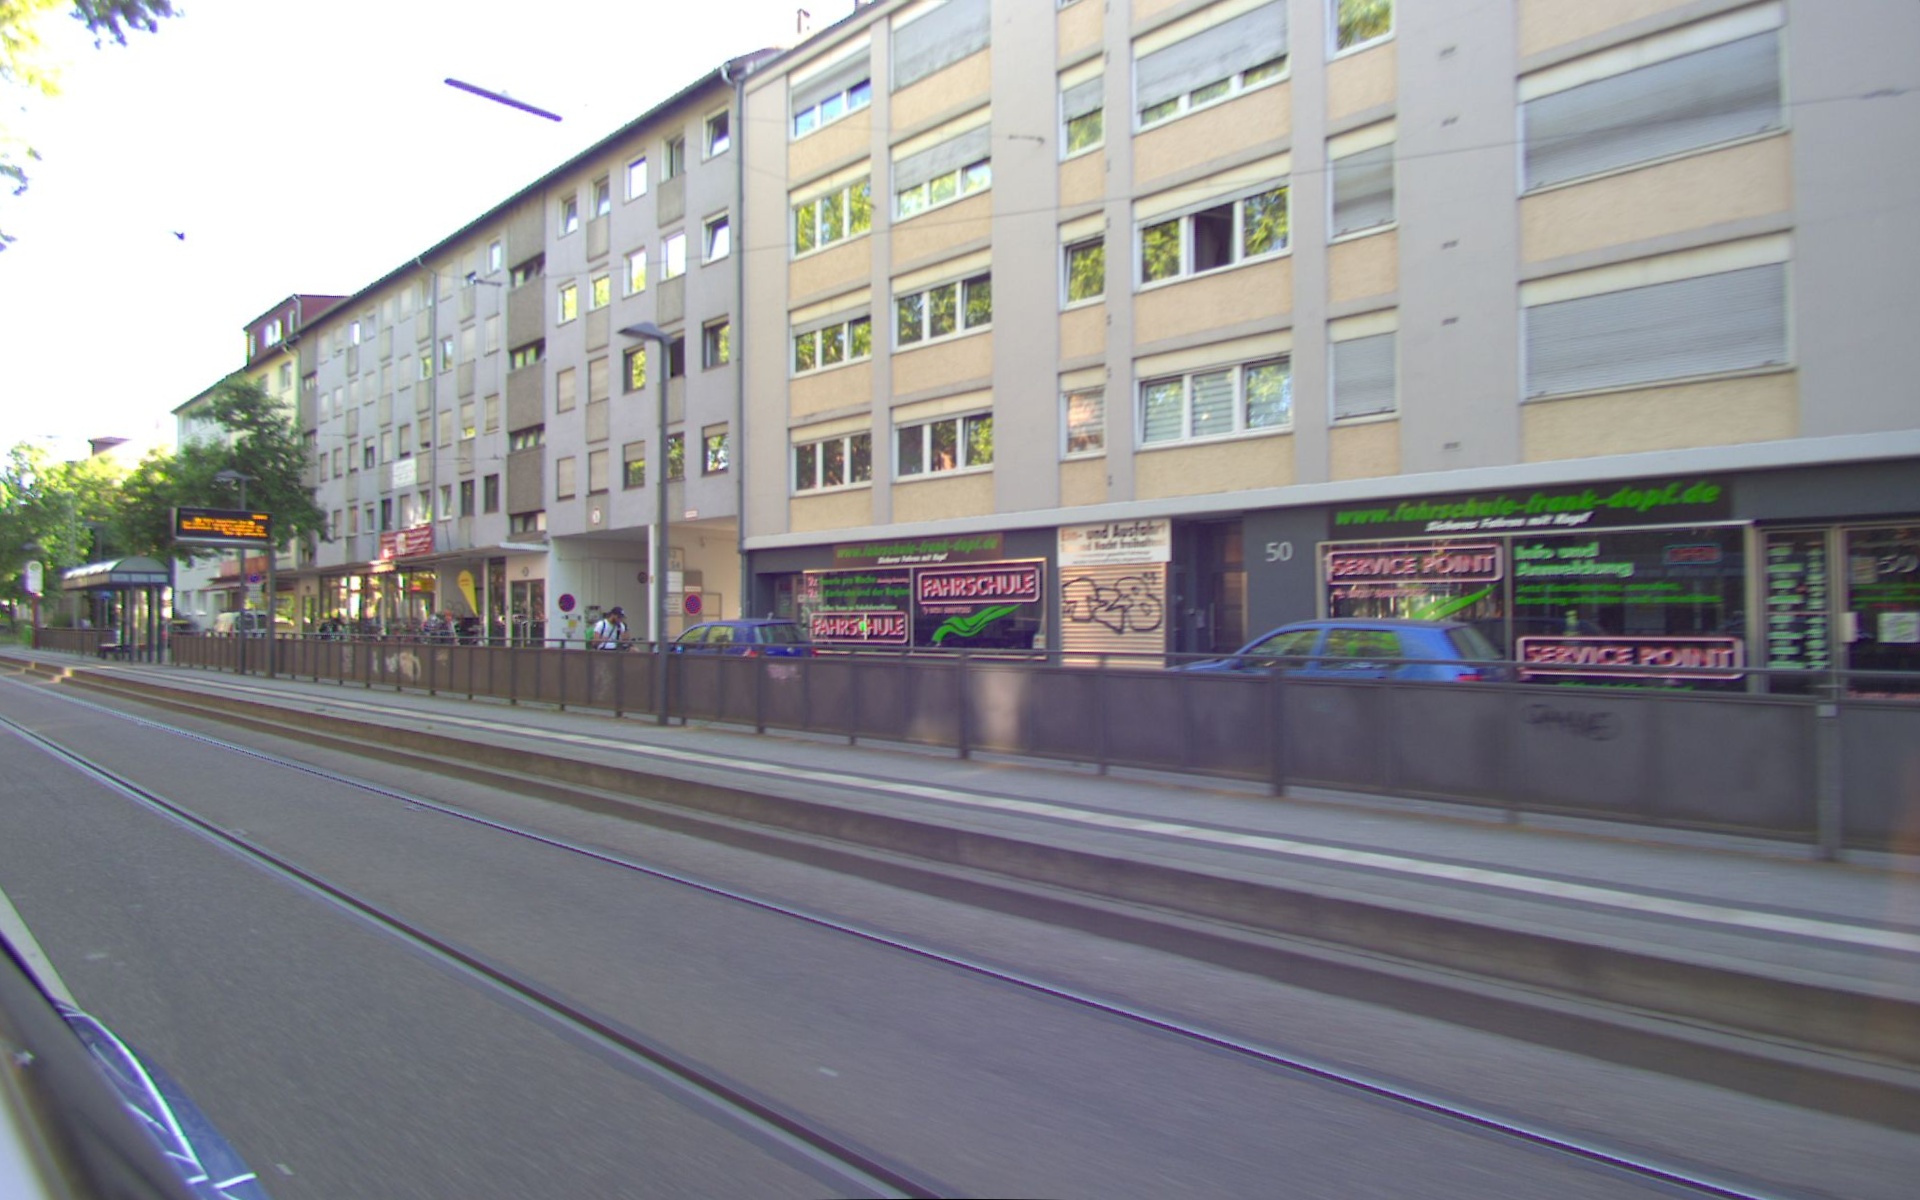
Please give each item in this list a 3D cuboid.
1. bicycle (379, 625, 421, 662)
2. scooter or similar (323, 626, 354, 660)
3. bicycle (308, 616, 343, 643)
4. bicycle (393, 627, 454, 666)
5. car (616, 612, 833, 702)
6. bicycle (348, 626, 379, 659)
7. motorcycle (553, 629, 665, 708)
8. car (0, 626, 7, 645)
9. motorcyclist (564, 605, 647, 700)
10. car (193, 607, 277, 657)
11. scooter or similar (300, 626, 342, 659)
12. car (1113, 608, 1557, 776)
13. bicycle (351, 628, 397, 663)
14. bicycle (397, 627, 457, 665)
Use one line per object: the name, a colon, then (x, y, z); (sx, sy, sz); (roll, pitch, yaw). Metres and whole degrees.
bicycle: (-18.375, 1.420, 33.208); (1.748, 1.165, 0.488); (-1, -2, 36)
scooter or similar: (-21.682, 1.496, 35.296); (1.272, 1.183, 0.440); (-1, -2, 36)
bicycle: (-28.053, 1.304, 44.722); (2.033, 1.165, 0.565); (-1, -2, 36)
bicycle: (-16.632, 1.424, 31.363); (2.019, 1.165, 0.556); (-1, -2, 26)
car: (-4.467, 1.008, 18.862); (4.280, 1.475, 1.776); (-1, -3, 41)
bicycle: (-21.468, 1.509, 36.400); (1.688, 1.165, 0.506); (-2, -2, 44)
motorcycle: (-5.593, 1.055, 16.080); (1.914, 1.173, 0.840); (-1, -2, 41)
car: (-79.132, 2.853, 82.412); (3.679, 1.542, 1.971); (-2, -2, 44)
motorcyclist: (-5.642, 0.816, 16.112); (1.015, 1.451, 0.864); (-2, -2, 40)
car: (-29.436, 1.281, 41.037); (4.046, 1.949, 1.785); (-1, -2, 40)
scooter or similar: (-22.761, 1.519, 36.060); (1.259, 1.183, 0.445); (0, -2, 5)
car: (4.130, 0.917, 11.586); (4.387, 1.556, 1.935); (-1, -3, 41)
bicycle: (-19.916, 1.542, 34.370); (2.033, 1.165, 0.565); (-1, -2, 36)
bicycle: (-16.753, 1.425, 31.791); (2.019, 1.165, 0.556); (-1, -2, 26)
